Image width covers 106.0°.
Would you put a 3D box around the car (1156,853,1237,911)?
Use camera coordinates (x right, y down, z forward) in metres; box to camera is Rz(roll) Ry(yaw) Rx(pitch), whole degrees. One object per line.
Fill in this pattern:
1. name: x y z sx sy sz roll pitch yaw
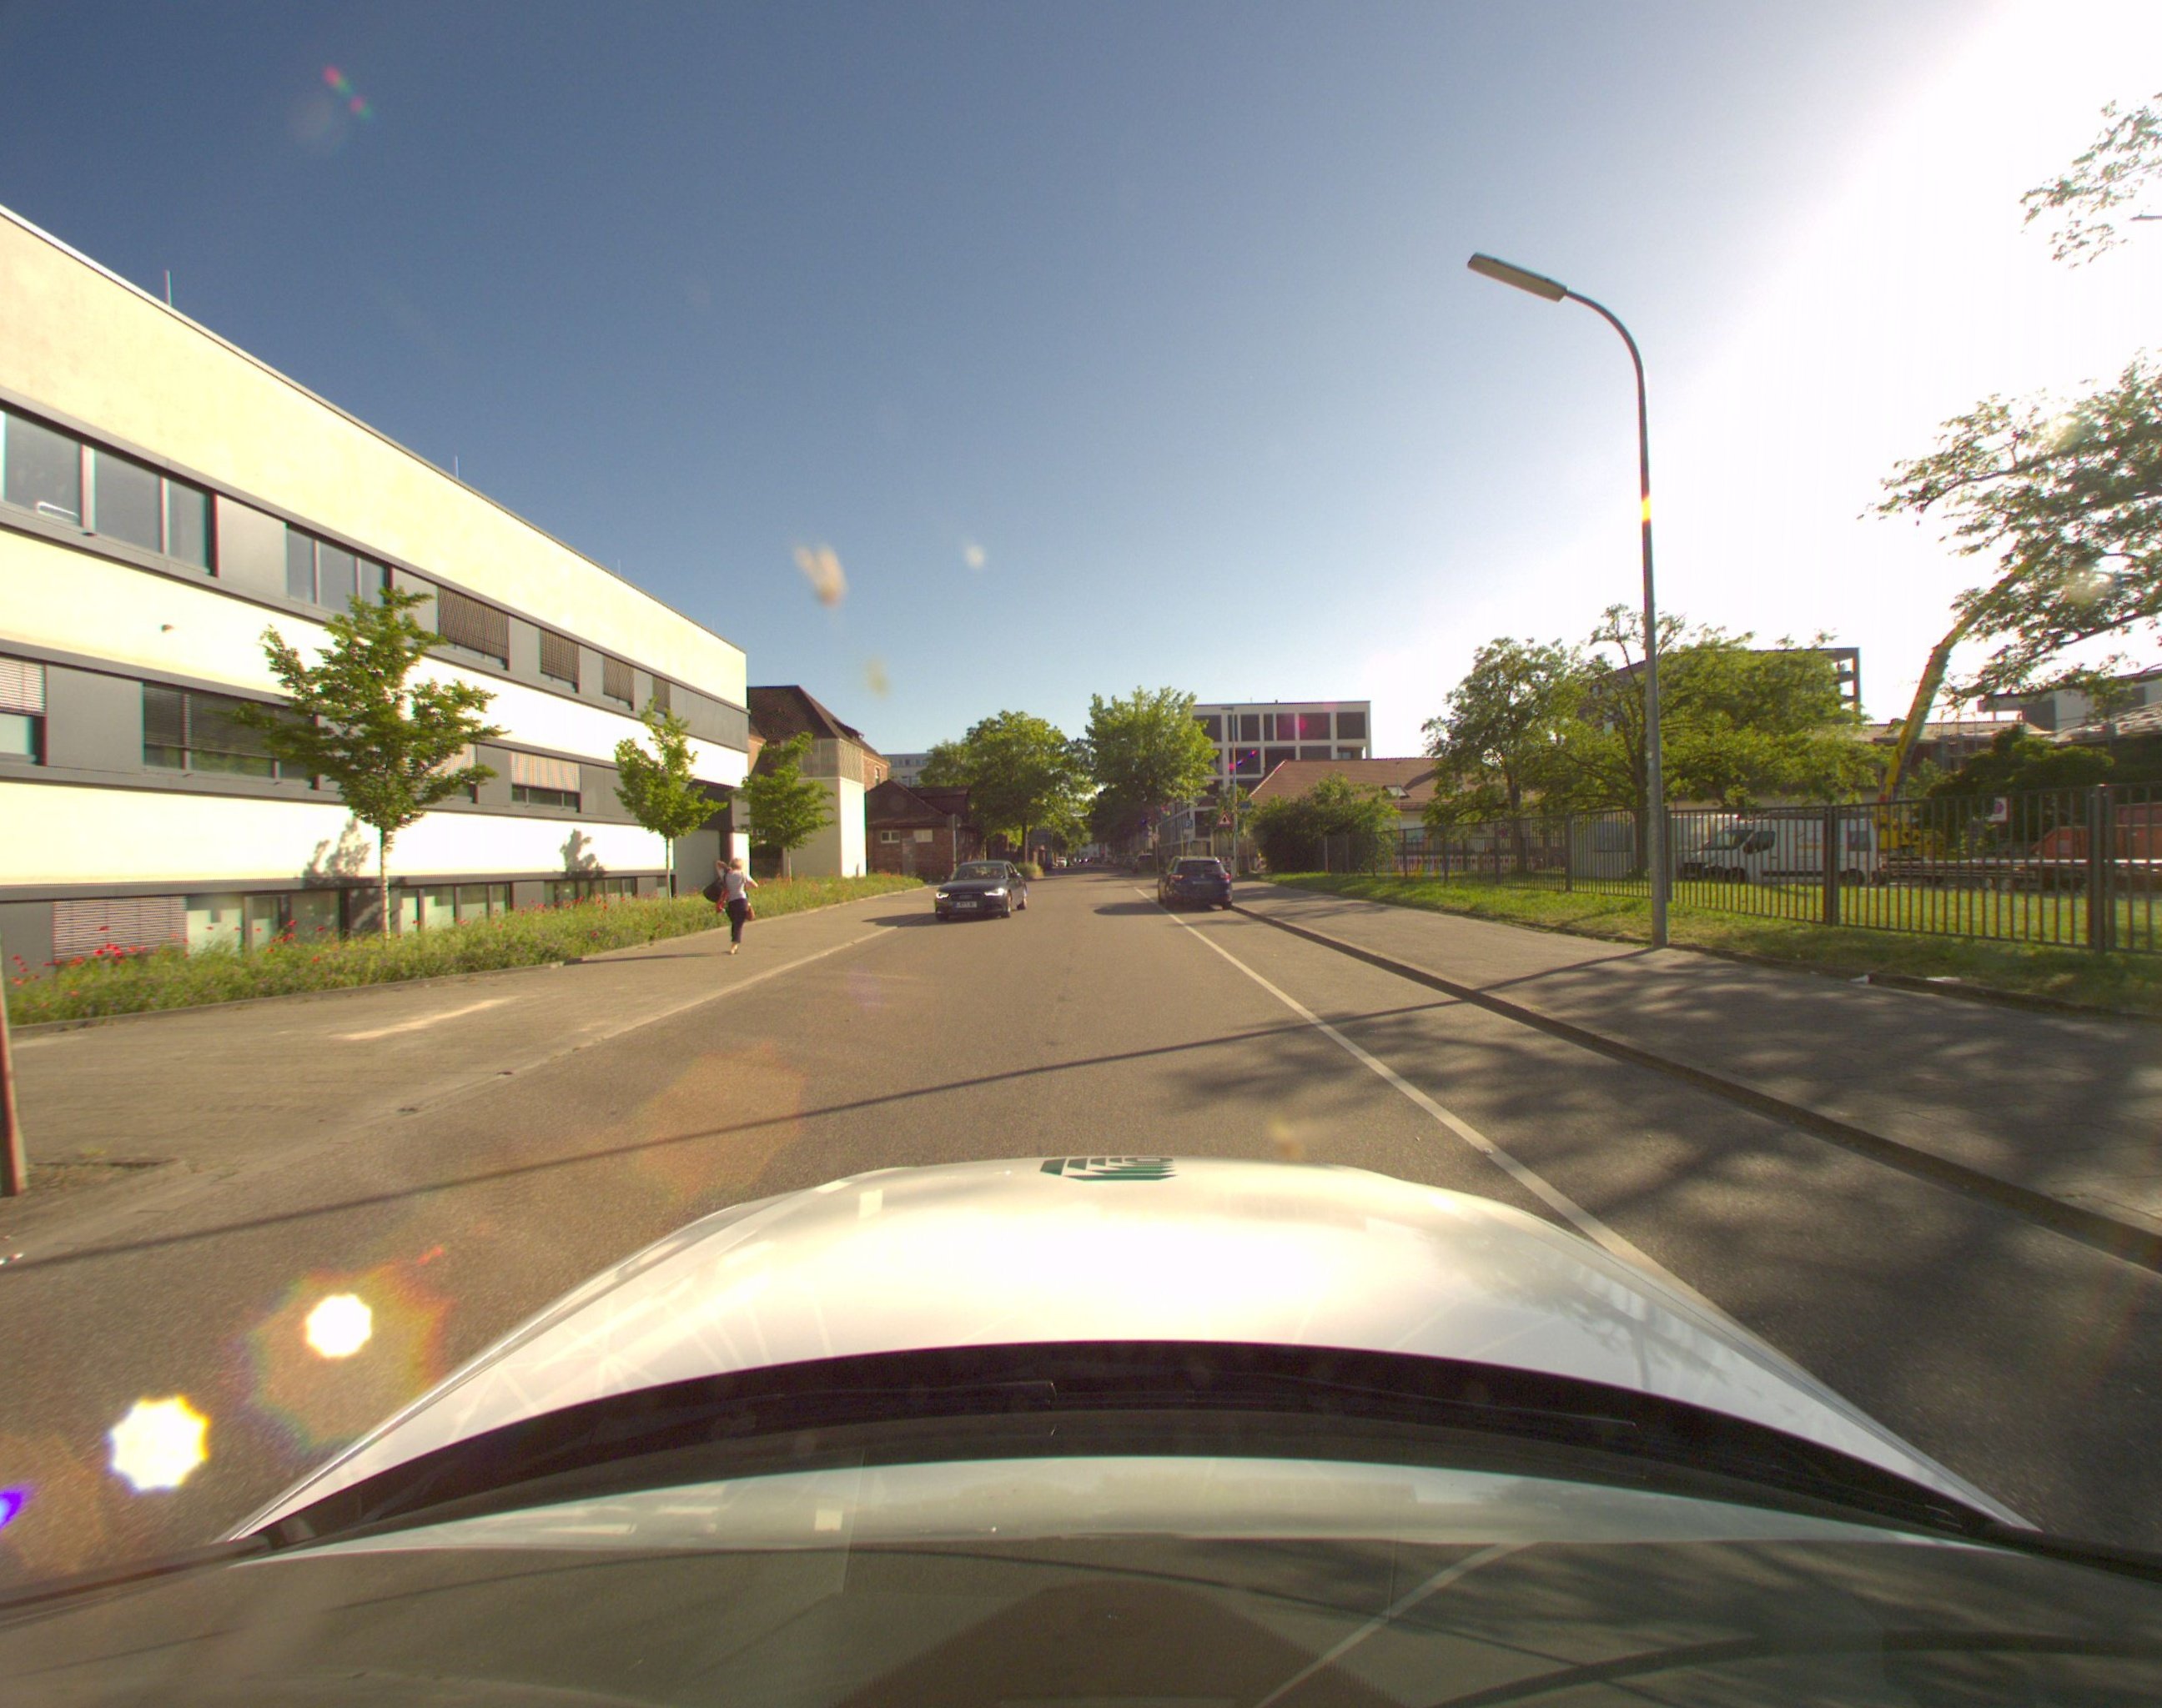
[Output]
1. car: 3.220 0.732 23.393 1.811 1.453 4.215 -2 0 2

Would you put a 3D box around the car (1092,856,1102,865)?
1. car: 3.012 1.262 157.084 1.761 1.548 4.064 -2 0 -1

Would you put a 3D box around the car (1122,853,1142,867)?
1. car: 5.222 0.608 84.384 1.761 1.440 3.999 -2 0 -1

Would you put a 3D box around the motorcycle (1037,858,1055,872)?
1. motorcycle: -3.464 1.106 81.086 0.570 1.276 2.135 -2 0 34

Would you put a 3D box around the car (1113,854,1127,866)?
1. car: 5.402 0.823 113.341 1.943 1.578 3.837 -1 0 1

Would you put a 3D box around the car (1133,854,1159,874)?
1. car: 4.997 0.738 63.079 1.697 1.468 4.788 -1 0 0

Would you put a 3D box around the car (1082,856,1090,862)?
1. car: 1.222 1.229 195.588 1.648 1.530 4.000 -1 0 1

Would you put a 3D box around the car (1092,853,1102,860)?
1. car: 3.193 0.503 157.391 1.882 1.400 3.837 -1 0 1

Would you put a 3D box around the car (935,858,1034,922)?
1. car: -2.468 0.885 21.928 1.754 1.442 4.543 -2 0 4

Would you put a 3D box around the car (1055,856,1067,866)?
1. car: -3.072 1.077 124.678 1.761 1.487 3.999 -2 0 -1

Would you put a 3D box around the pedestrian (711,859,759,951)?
1. pedestrian: -5.882 0.852 13.850 0.536 1.524 0.607 0 0 2

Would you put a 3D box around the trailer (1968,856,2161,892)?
1. trailer: 29.952 0.540 24.321 1.886 0.919 5.122 -1 0 9

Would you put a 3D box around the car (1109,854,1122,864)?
1. car: 5.434 0.777 129.070 1.986 1.465 3.837 -1 0 1

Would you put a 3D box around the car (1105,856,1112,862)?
1. car: 6.461 1.200 194.411 1.580 1.400 3.837 -1 0 1

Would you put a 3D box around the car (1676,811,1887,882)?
1. car: 23.818 -0.264 27.877 5.257 2.202 2.004 -1 1 6

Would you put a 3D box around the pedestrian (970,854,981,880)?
1. pedestrian: -6.639 0.817 51.225 0.519 1.562 1.096 -1 0 0
